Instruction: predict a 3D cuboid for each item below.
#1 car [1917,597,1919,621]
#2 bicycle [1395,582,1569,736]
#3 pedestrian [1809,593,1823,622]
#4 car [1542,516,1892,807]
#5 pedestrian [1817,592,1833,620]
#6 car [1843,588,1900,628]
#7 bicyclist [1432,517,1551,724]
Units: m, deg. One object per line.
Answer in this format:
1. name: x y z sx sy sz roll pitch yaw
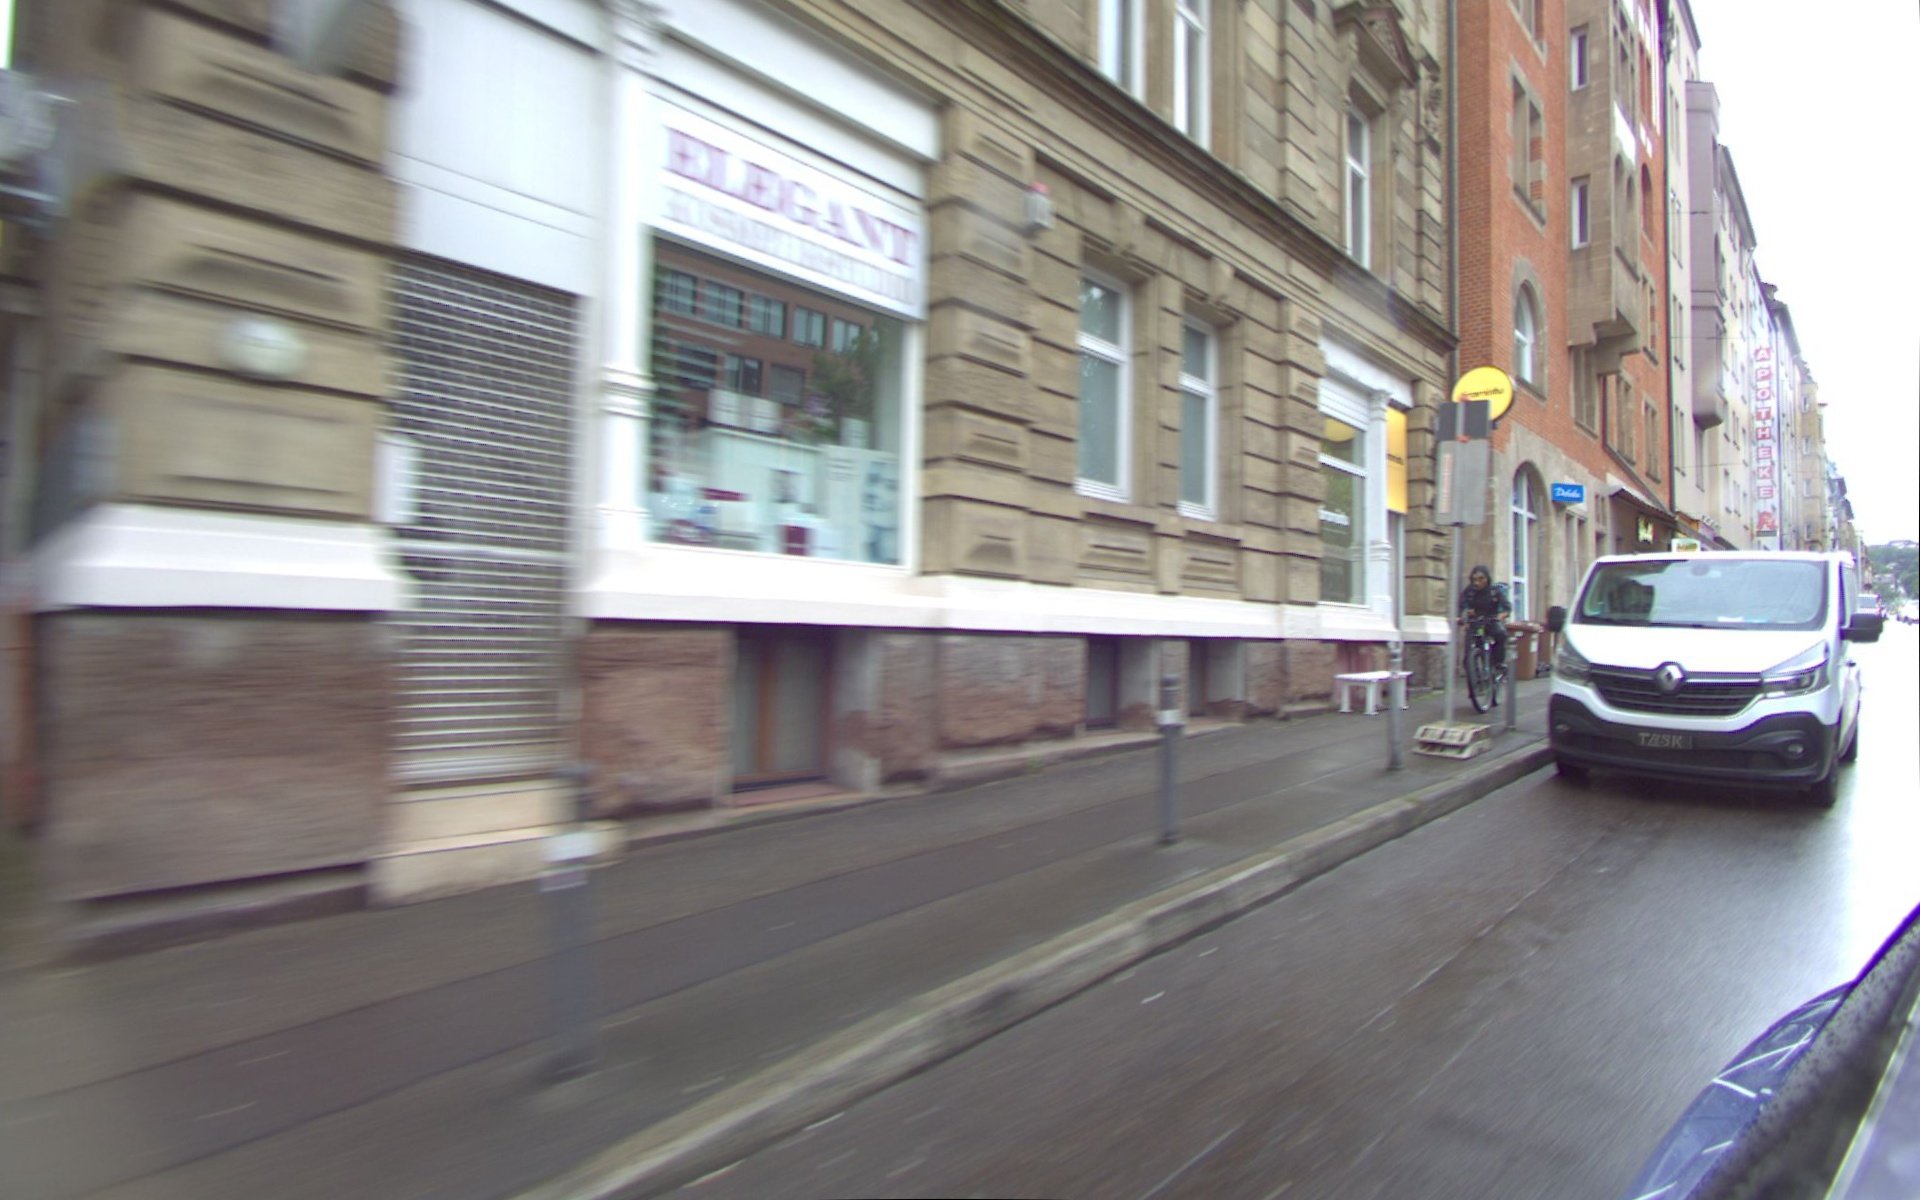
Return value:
1. car: 62.990 0.559 65.172 1.878 1.465 3.939 -1 0 42
2. bicycle: 6.172 0.609 11.833 0.934 1.574 3.085 -1 -1 44
3. pedestrian: 55.271 0.477 65.354 0.675 1.813 0.692 1 0 44
4. car: 7.318 0.401 9.451 1.821 1.929 5.895 -2 -1 44
5. pedestrian: 58.423 0.395 68.352 0.672 1.813 0.695 1 0 33
6. car: 45.280 0.363 50.333 1.876 1.872 3.943 -1 0 40
7. bicyclist: 6.302 0.223 11.988 0.918 2.292 1.267 0 0 45
